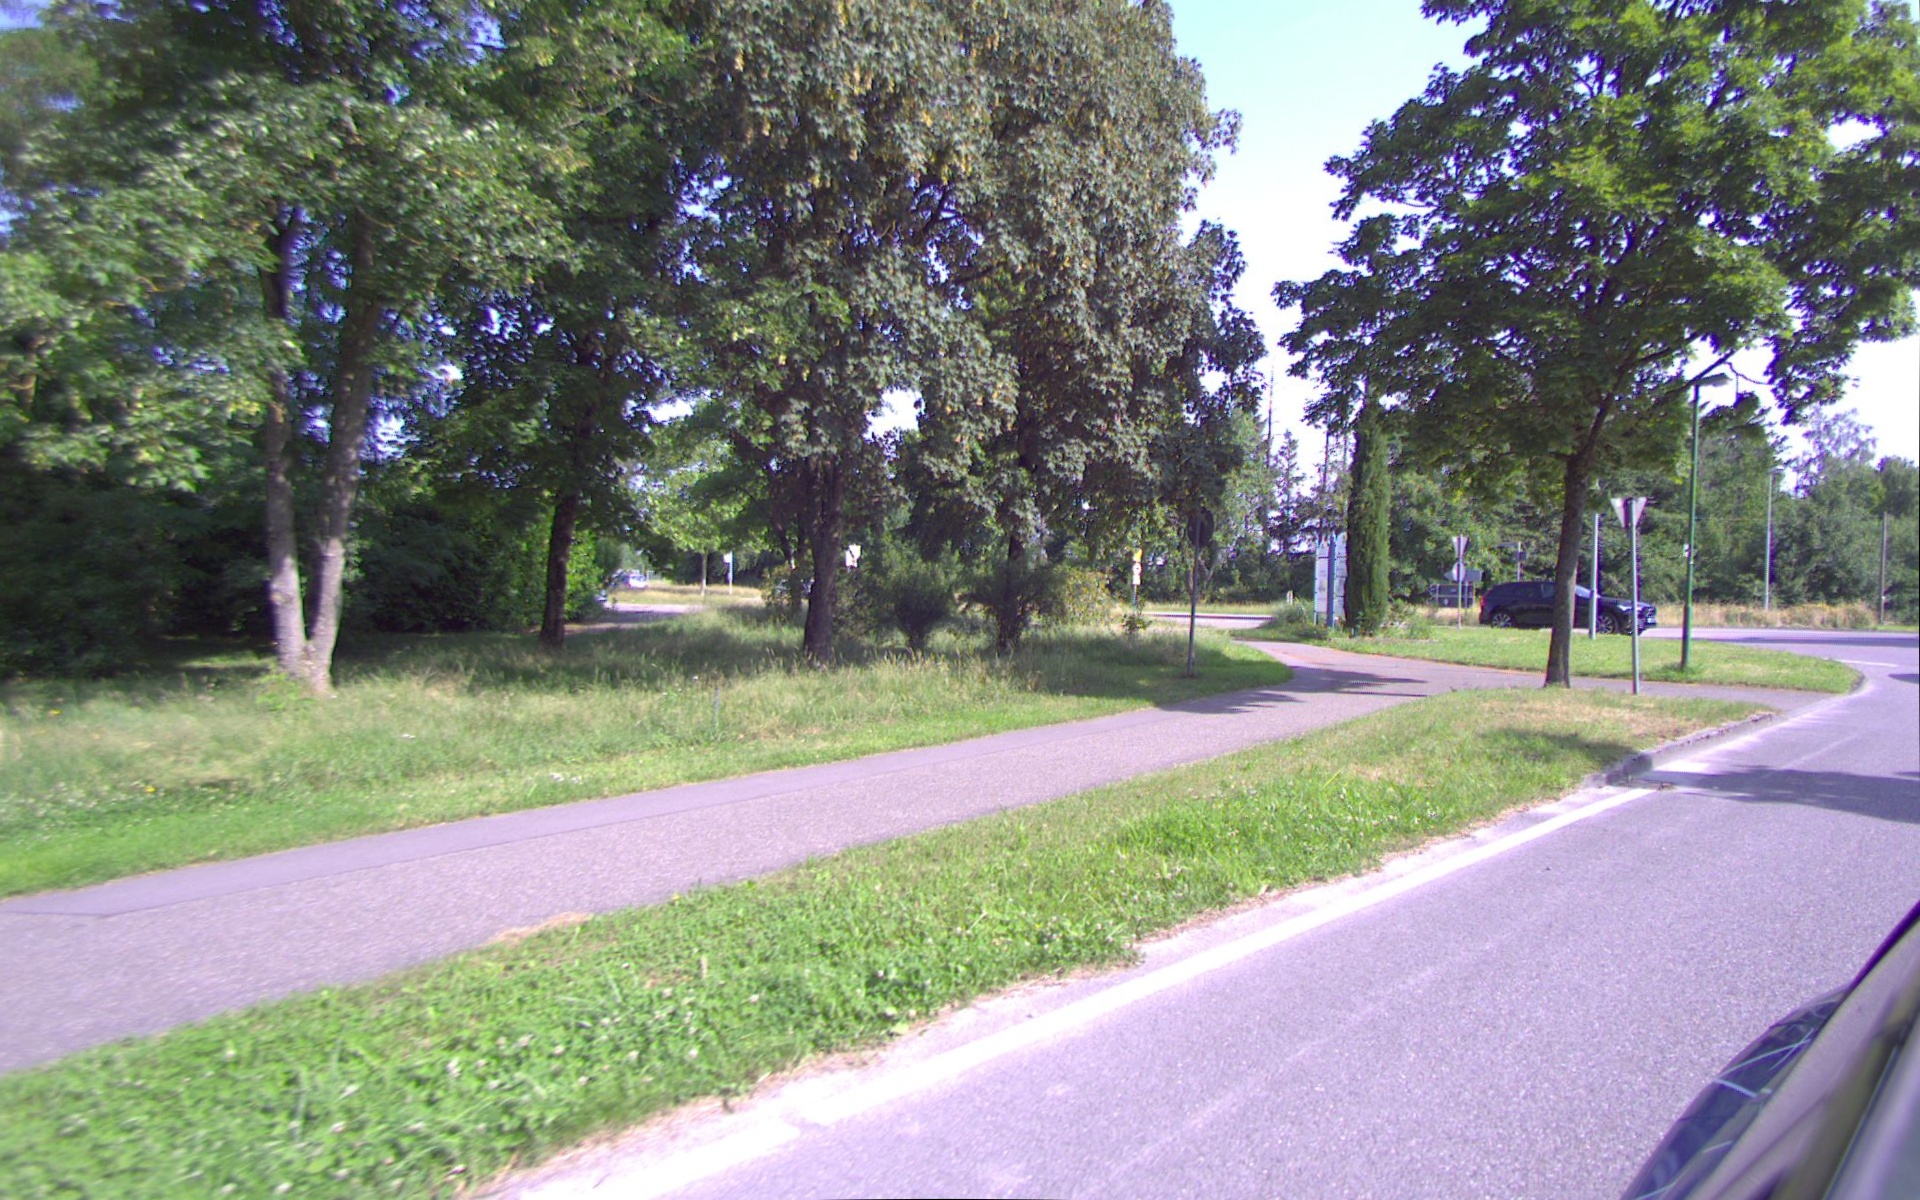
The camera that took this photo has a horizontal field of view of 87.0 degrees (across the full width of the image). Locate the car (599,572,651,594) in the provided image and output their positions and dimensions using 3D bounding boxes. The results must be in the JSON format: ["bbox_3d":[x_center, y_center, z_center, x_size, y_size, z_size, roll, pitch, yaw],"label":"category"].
[{"bbox_3d":[-24.985,-1.282,75.447,4.054,1.643,1.849,2,1,41],"label":"car"}]

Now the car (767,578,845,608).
[{"bbox_3d":[-8.388,-0.389,55.011,4.114,1.569,1.877,0,1,38],"label":"car"}]

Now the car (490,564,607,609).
[{"bbox_3d":[-15.602,-0.525,38.406,3.988,1.643,1.880,0,1,-27],"label":"car"}]

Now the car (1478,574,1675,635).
[{"bbox_3d":[18.205,0.070,30.062,1.918,1.621,4.617,0,2,-39],"label":"car"}]
